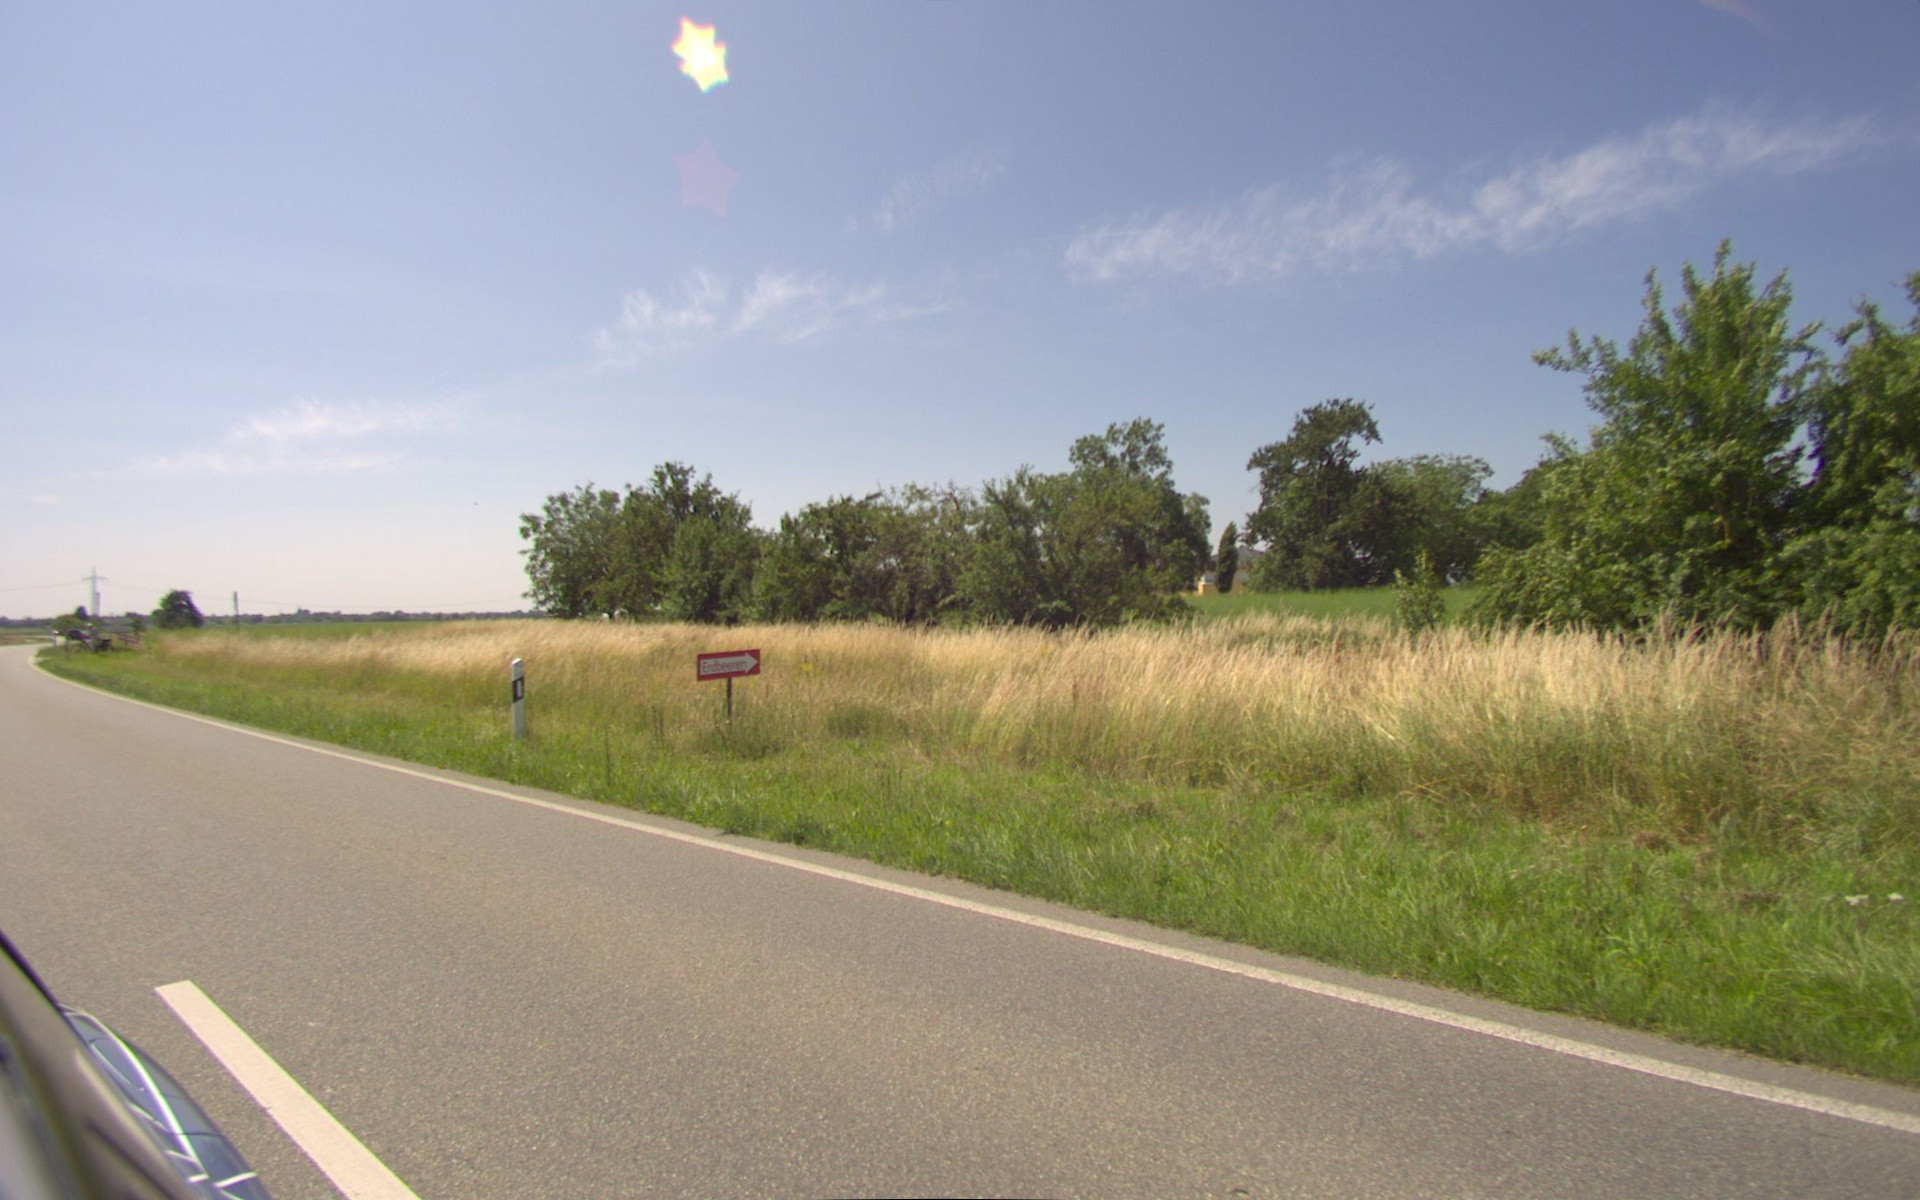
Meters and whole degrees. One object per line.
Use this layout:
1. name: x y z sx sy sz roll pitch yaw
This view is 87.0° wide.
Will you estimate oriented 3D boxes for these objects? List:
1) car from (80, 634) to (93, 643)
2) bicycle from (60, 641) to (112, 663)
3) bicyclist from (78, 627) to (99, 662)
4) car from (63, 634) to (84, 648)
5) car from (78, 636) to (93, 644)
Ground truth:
1. car: -164.251 7.248 190.279 1.718 1.544 4.149 1 -2 -40
2. bicycle: -44.853 2.654 51.965 1.892 1.000 0.684 -1 0 -32
3. bicyclist: -44.791 2.274 52.013 0.690 1.771 0.664 -1 0 -32
4. car: -117.274 5.401 133.928 1.909 1.765 5.213 2 -3 -39
5. car: -143.927 6.589 166.622 1.719 1.367 4.426 1 -2 -39
